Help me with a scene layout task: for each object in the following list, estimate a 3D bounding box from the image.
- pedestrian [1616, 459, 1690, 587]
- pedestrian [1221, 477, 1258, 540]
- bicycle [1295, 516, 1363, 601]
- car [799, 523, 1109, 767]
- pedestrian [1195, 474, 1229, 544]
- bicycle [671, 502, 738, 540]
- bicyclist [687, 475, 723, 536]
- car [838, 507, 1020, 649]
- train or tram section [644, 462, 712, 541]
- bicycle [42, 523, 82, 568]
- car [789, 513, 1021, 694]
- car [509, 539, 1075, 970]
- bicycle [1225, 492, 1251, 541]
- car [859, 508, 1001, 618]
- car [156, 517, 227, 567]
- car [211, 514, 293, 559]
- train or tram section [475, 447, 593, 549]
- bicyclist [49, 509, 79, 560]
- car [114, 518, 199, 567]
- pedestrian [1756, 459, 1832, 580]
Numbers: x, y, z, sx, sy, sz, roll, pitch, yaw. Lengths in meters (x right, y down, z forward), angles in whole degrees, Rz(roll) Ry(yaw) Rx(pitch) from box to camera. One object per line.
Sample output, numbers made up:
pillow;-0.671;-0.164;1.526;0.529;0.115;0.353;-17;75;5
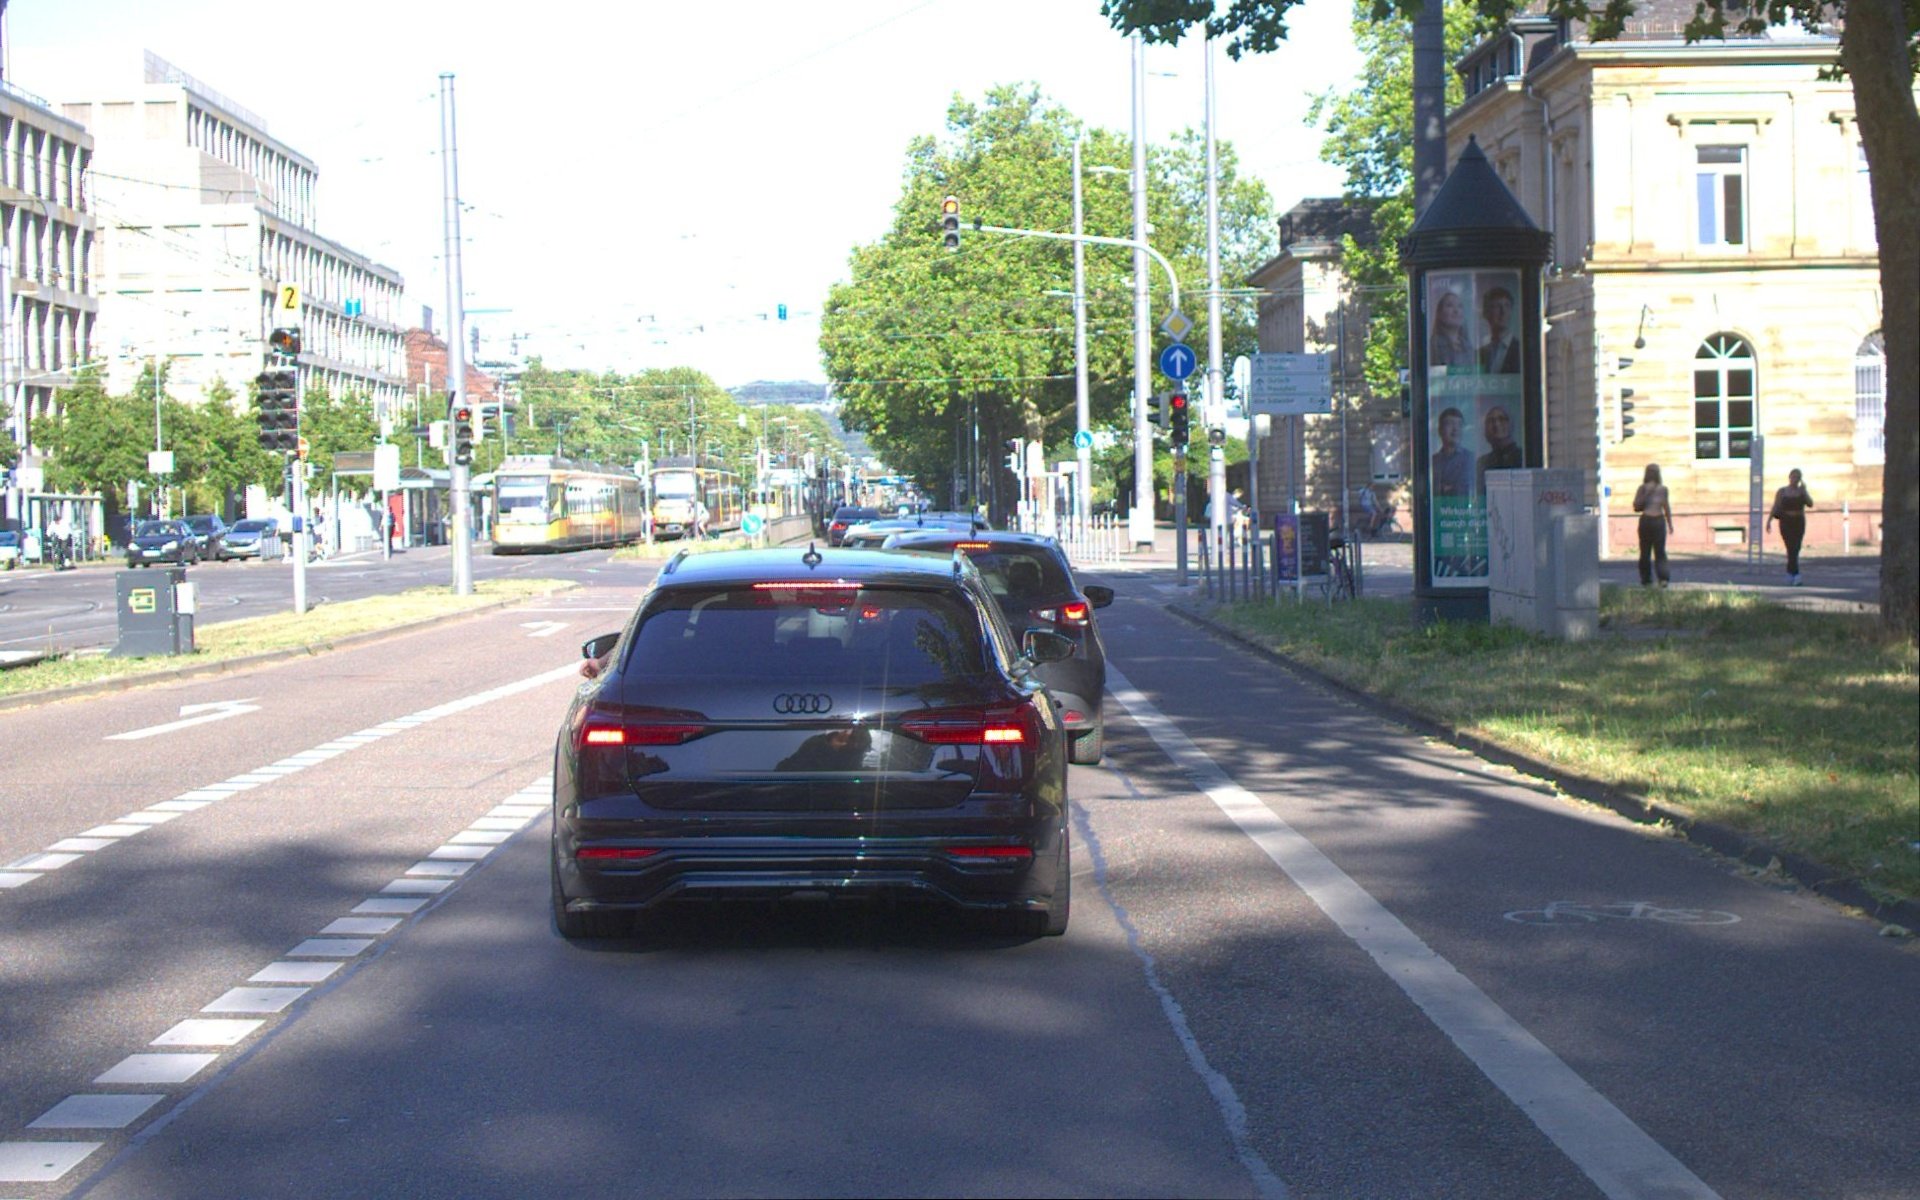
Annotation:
pedestrian;9.419;-1.052;46.749;0.769;1.703;1.042;-2;1;1
pedestrian;8.458;-2.767;104.050;0.979;1.859;0.827;-1;2;-2
bicycle;4.810;-0.554;44.875;0.540;1.058;1.772;-1;2;-4
car;-0.052;0.230;23.186;1.902;1.481;4.145;0;1;0
pedestrian;6.035;-2.186;82.346;0.682;1.655;0.758;-1;2;-3
bicycle;-7.776;-2.416;104.700;2.007;1.104;0.764;-3;2;-43
bicyclist;-7.768;-2.878;104.695;0.757;1.812;0.764;-3;2;-43
car;-0.339;-0.283;38.193;1.902;1.481;4.145;0;1;0
train or tram section;-12.781;-4.506;156.614;2.608;3.439;11.134;-1;2;-3
bicycle;-28.167;-1.717;107.827;0.685;1.377;1.947;-2;2;0
car;-0.468;-0.023;30.264;1.902;1.481;4.145;0;1;0
car;-0.578;0.484;13.642;1.902;1.417;4.145;0;1;0
bicycle;6.662;-2.008;82.381;0.434;1.141;1.340;-1;2;-3
car;-0.420;-0.548;48.337;1.902;1.481;4.145;0;1;0
car;-29.099;-2.229;130.264;1.842;1.806;4.113;-1;2;-2
car;-24.730;-2.233;120.243;1.820;1.452;4.541;-2;2;1
train or tram section;-15.515;-3.730;126.100;2.813;3.477;13.205;-1;2;-1
bicyclist;-28.107;-2.062;107.801;0.685;1.557;0.785;-2;1;0
car;-25.041;-1.805;107.256;1.820;1.452;4.167;-2;2;-3
pedestrian;11.276;-1.093;46.509;0.769;1.600;0.986;-2;1;1
